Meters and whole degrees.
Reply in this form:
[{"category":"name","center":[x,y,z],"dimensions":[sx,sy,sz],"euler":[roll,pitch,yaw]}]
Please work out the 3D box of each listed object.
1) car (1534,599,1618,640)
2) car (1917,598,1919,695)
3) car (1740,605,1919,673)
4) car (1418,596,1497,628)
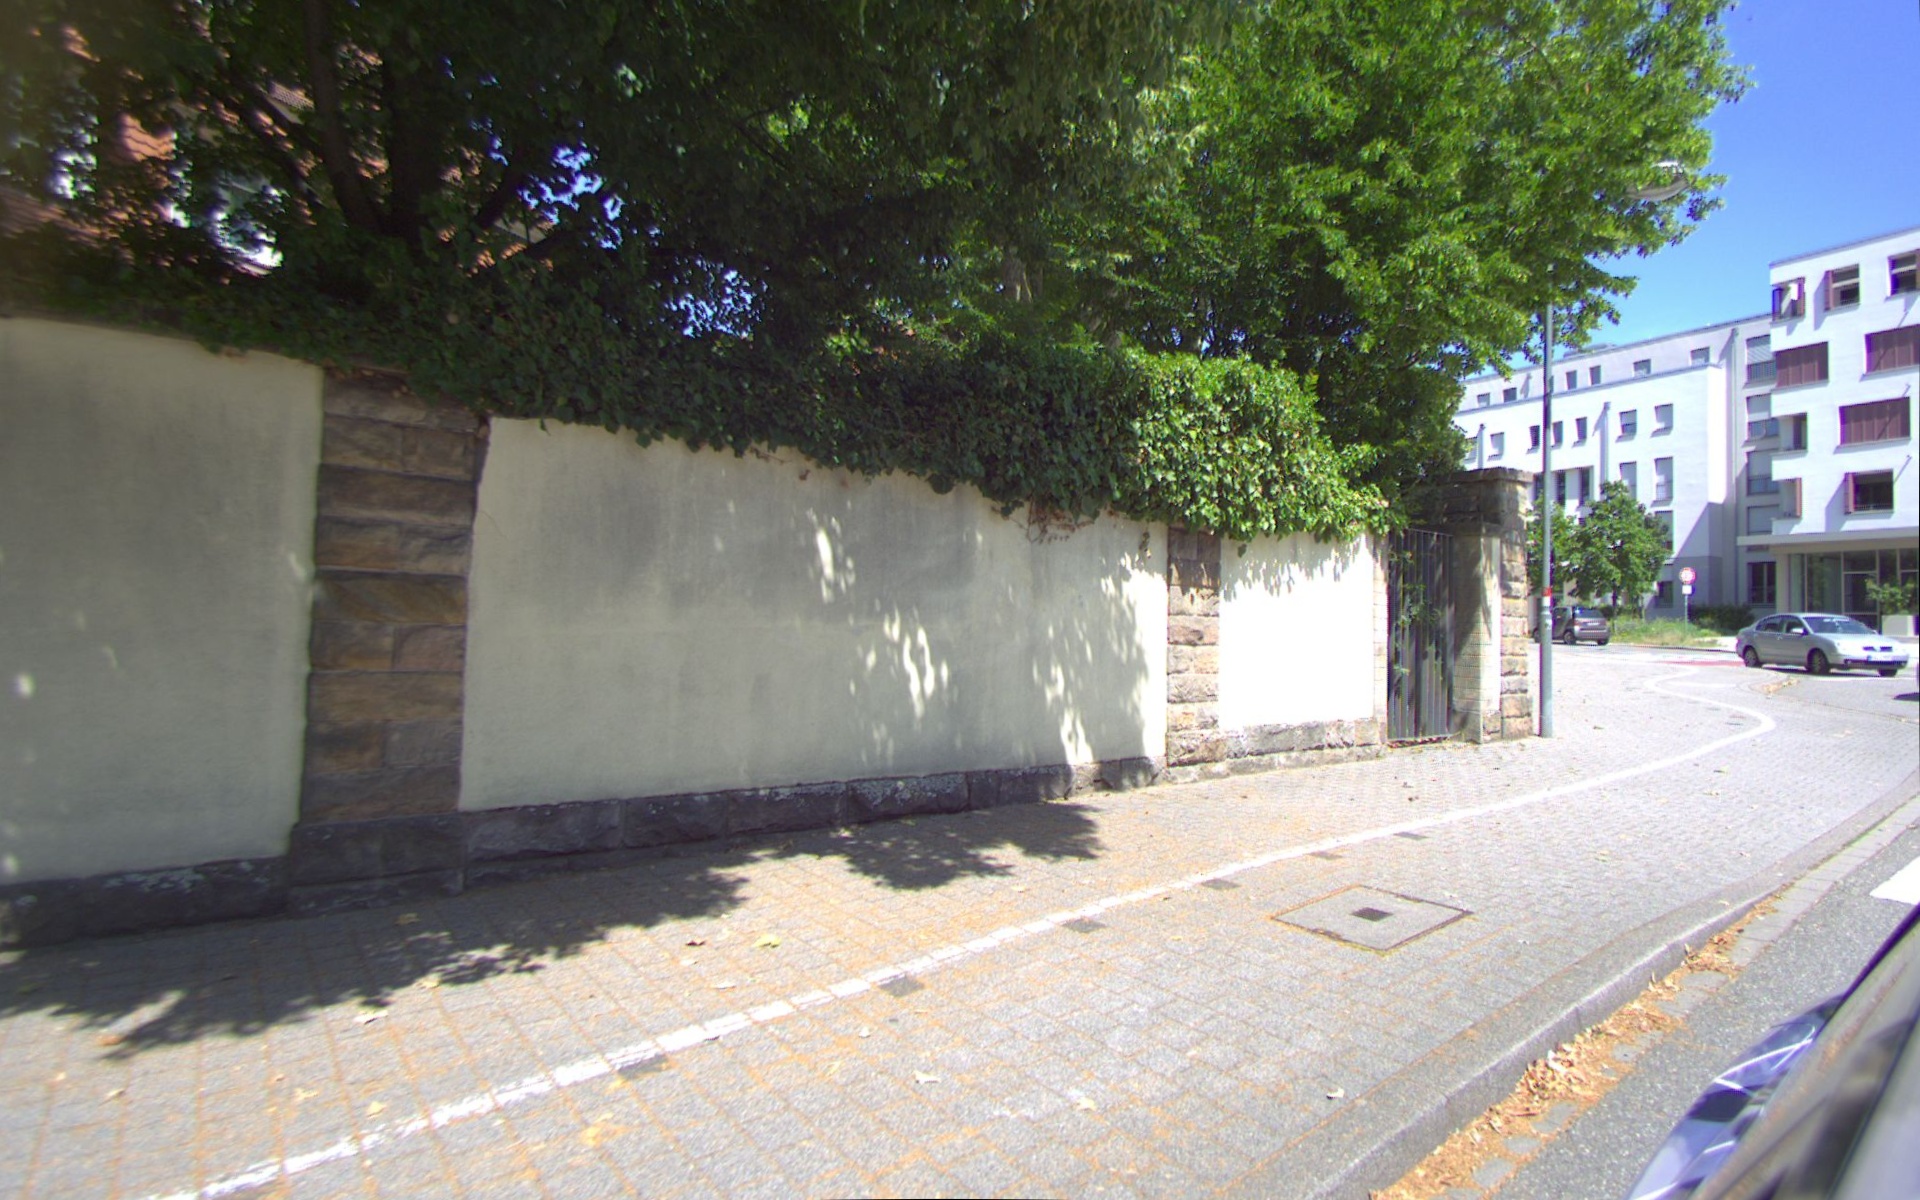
[{"category":"car","center":[24.444,0.744,40.258],"dimensions":[1.539,1.549,2.790],"euler":[1,0,-2]},{"category":"car","center":[17.524,0.715,16.657],"dimensions":[4.081,1.544,1.661],"euler":[-1,0,-33]},{"category":"car","center":[20.990,0.874,24.514],"dimensions":[1.582,1.470,3.989],"euler":[1,0,9]},{"category":"car","center":[26.516,0.612,54.061],"dimensions":[1.664,1.658,4.028],"euler":[1,0,-11]}]
